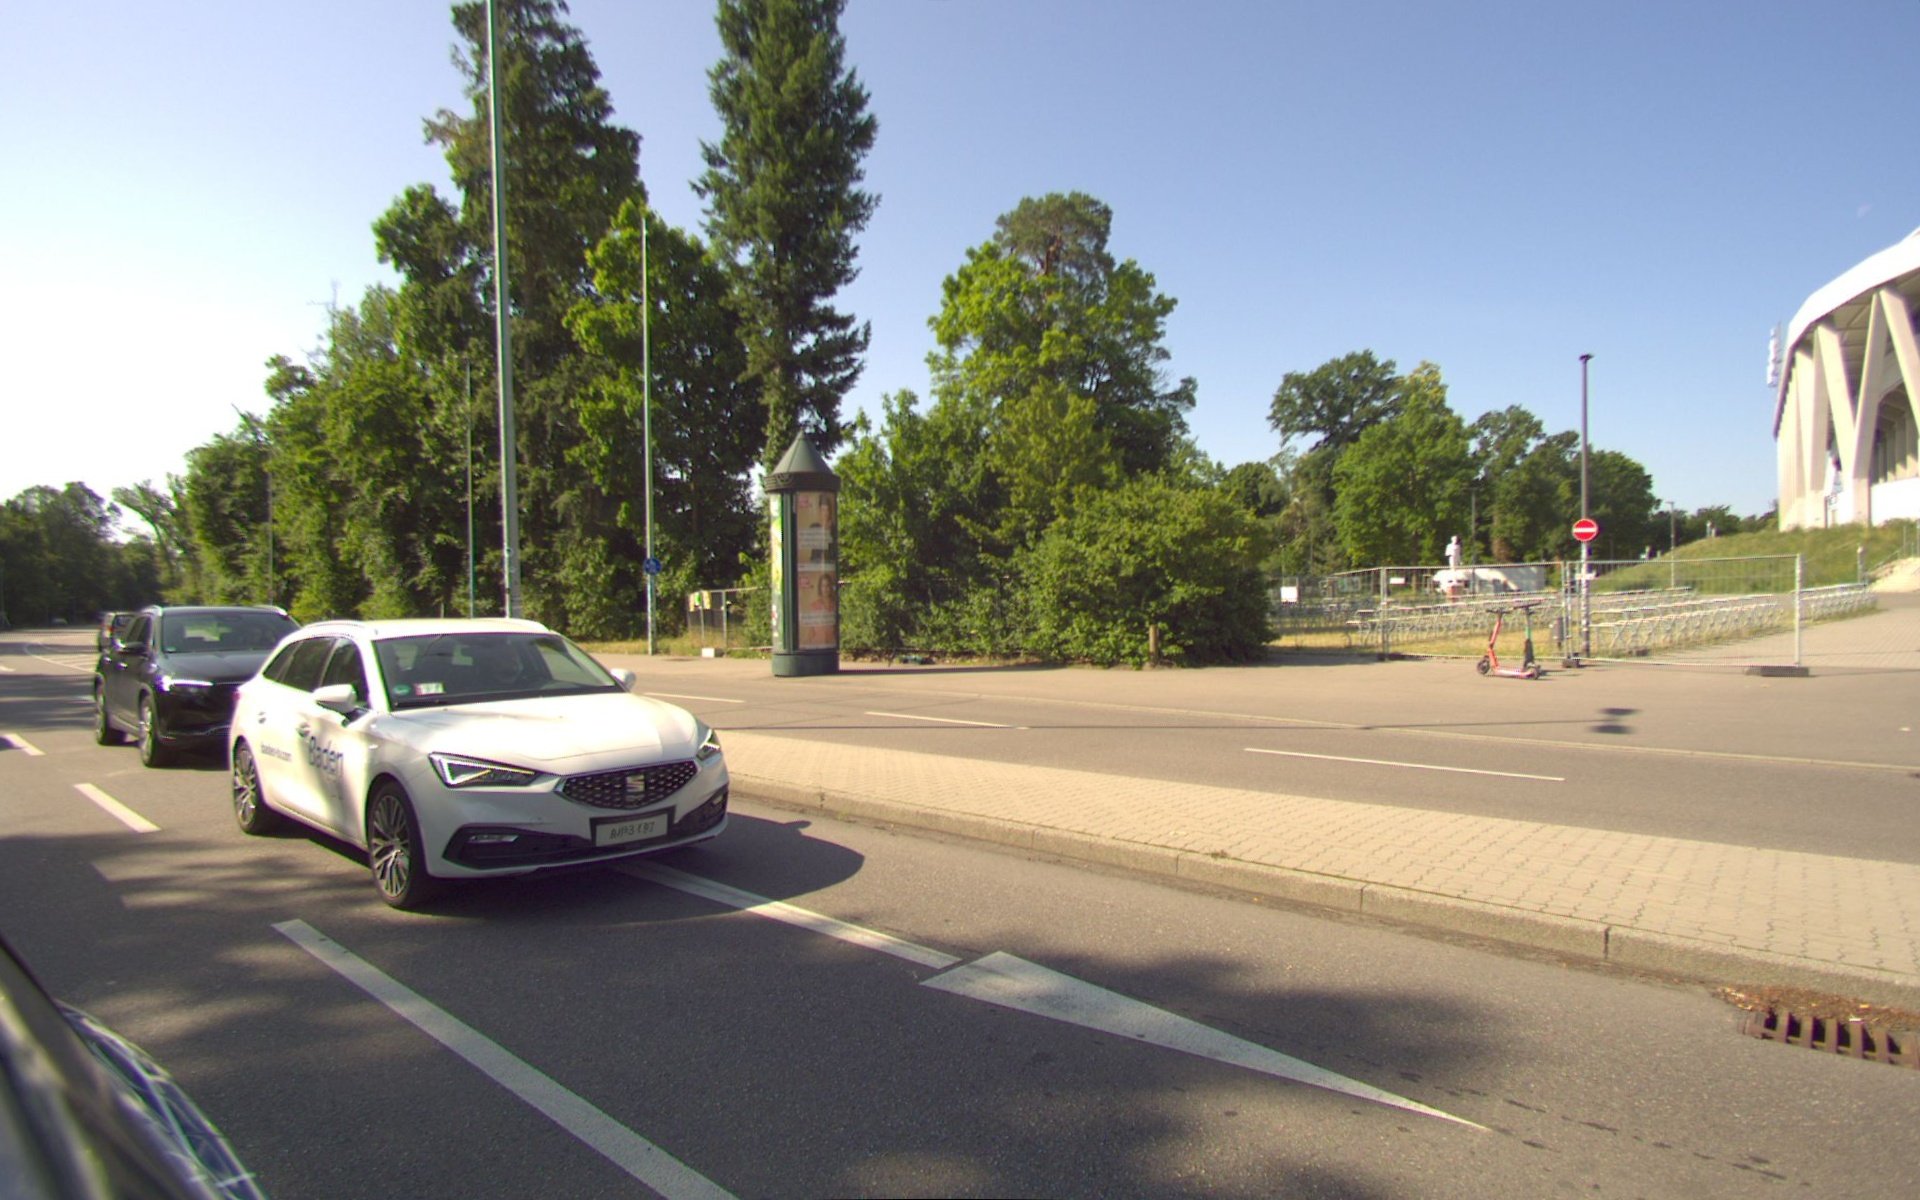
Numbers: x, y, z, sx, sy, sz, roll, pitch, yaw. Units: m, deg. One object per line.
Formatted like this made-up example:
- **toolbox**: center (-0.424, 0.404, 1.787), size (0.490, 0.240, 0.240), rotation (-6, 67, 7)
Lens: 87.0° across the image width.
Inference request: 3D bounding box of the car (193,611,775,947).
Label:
- **car**: center (-3.354, 0.821, 6.568), size (4.718, 1.437, 1.707), rotation (-1, -1, 42)

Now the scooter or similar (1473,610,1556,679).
- **scooter or similar**: center (9.655, 0.768, 17.643), size (0.390, 1.154, 1.197), rotation (-1, 0, -44)

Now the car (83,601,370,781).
- **car**: center (-8.267, 0.883, 11.248), size (4.273, 1.608, 1.785), rotation (-2, -1, 43)

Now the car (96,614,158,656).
- **car**: center (-39.956, 1.644, 48.524), size (4.002, 1.874, 1.851), rotation (-1, 0, 45)

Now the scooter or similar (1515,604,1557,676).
- **scooter or similar**: center (10.322, 0.701, 18.161), size (0.392, 1.231, 1.076), rotation (-1, 0, 16)
